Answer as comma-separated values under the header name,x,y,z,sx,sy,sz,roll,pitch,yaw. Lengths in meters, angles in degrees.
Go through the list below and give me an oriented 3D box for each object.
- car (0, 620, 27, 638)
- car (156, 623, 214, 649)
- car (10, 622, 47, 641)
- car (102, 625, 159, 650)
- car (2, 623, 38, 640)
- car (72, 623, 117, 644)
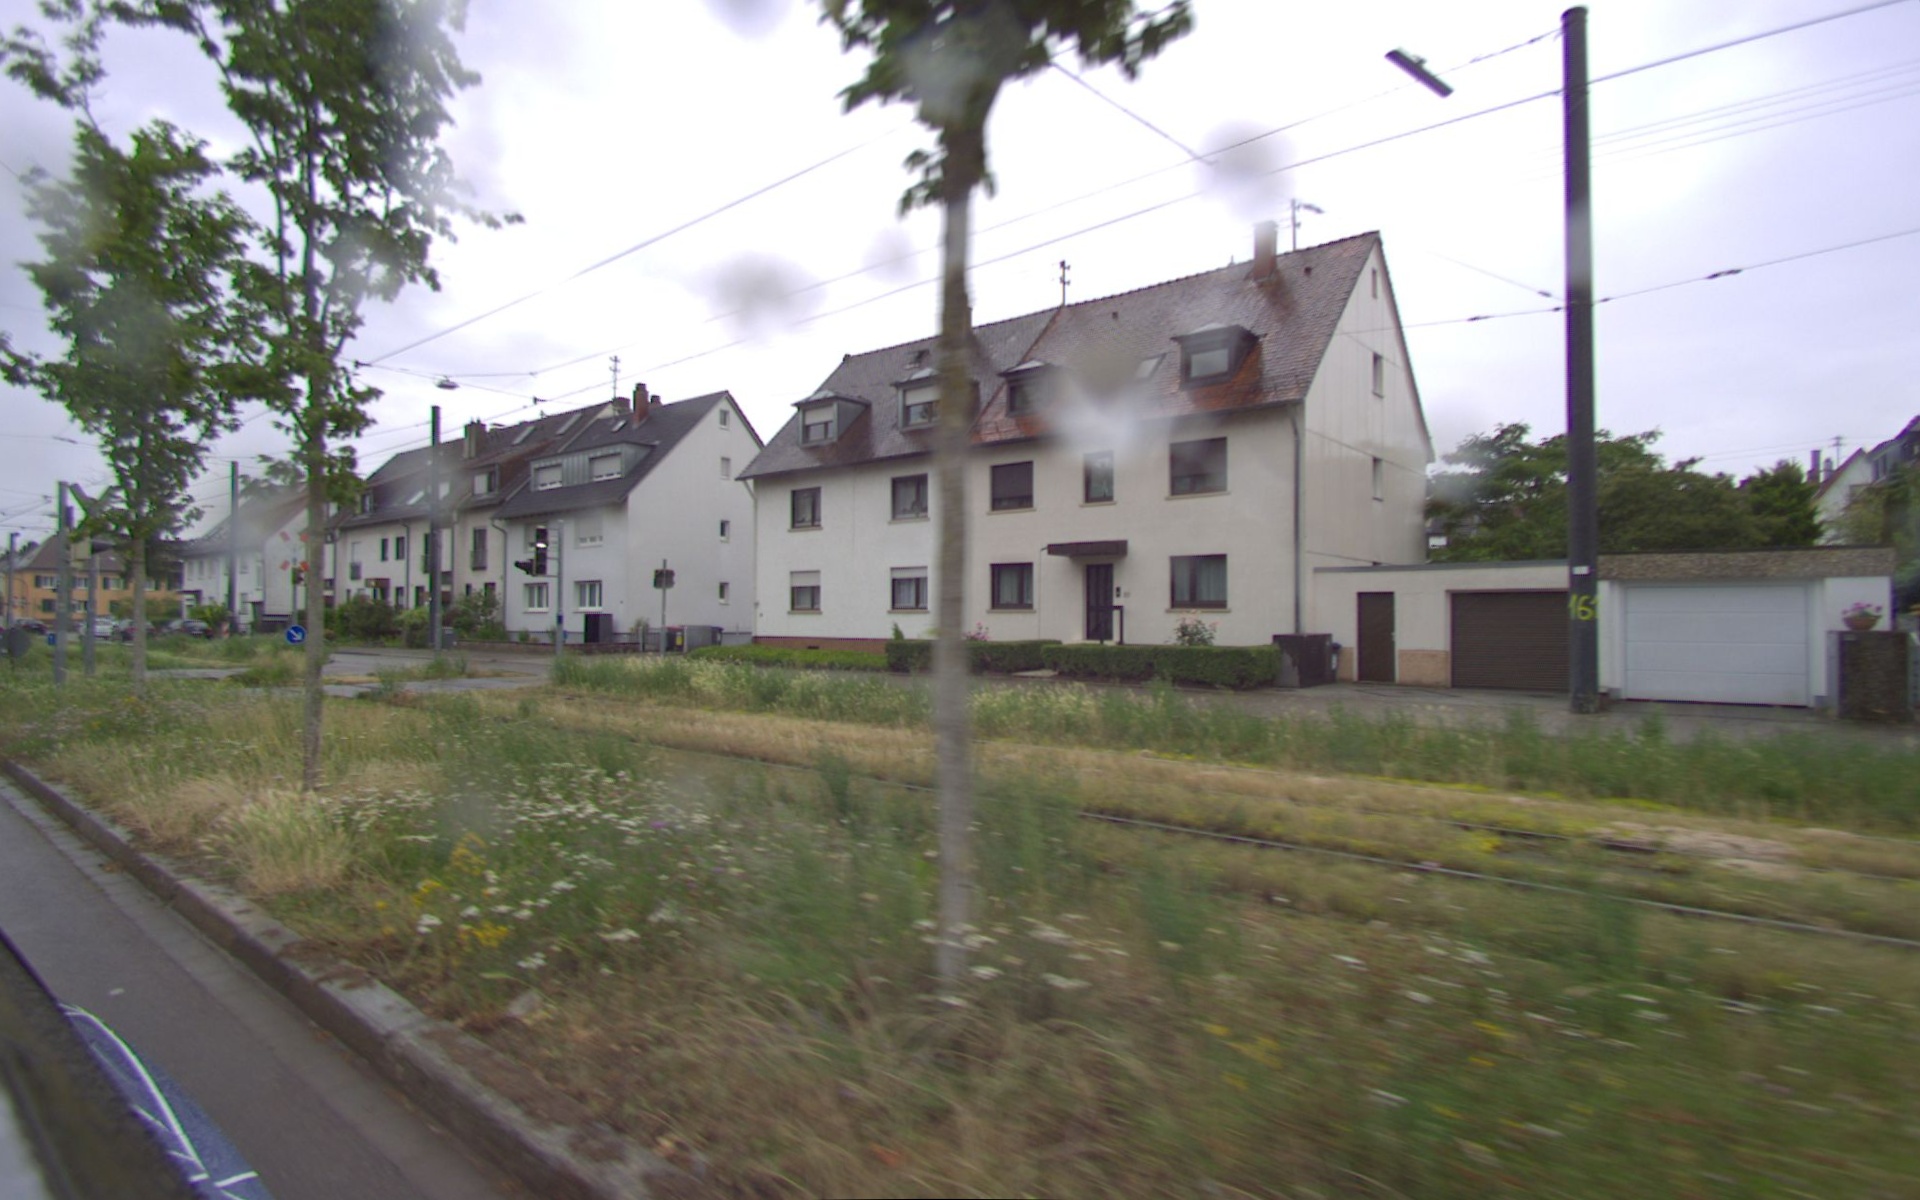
name,x,y,z,sx,sy,sz,roll,pitch,yaw
car,-93.287,2.813,99.428,3.999,1.670,1.972,-1,-1,42
car,-43.822,2.028,57.194,3.934,1.437,1.755,-1,-3,40
car,-83.191,2.819,90.330,3.997,1.602,1.888,-1,-3,40
car,-53.512,2.405,65.240,4.751,1.543,1.868,-1,-3,39
car,-86.744,2.901,93.372,3.997,1.541,1.858,-1,-3,40
car,-62.004,2.382,72.507,3.995,1.451,1.694,-1,-3,39
